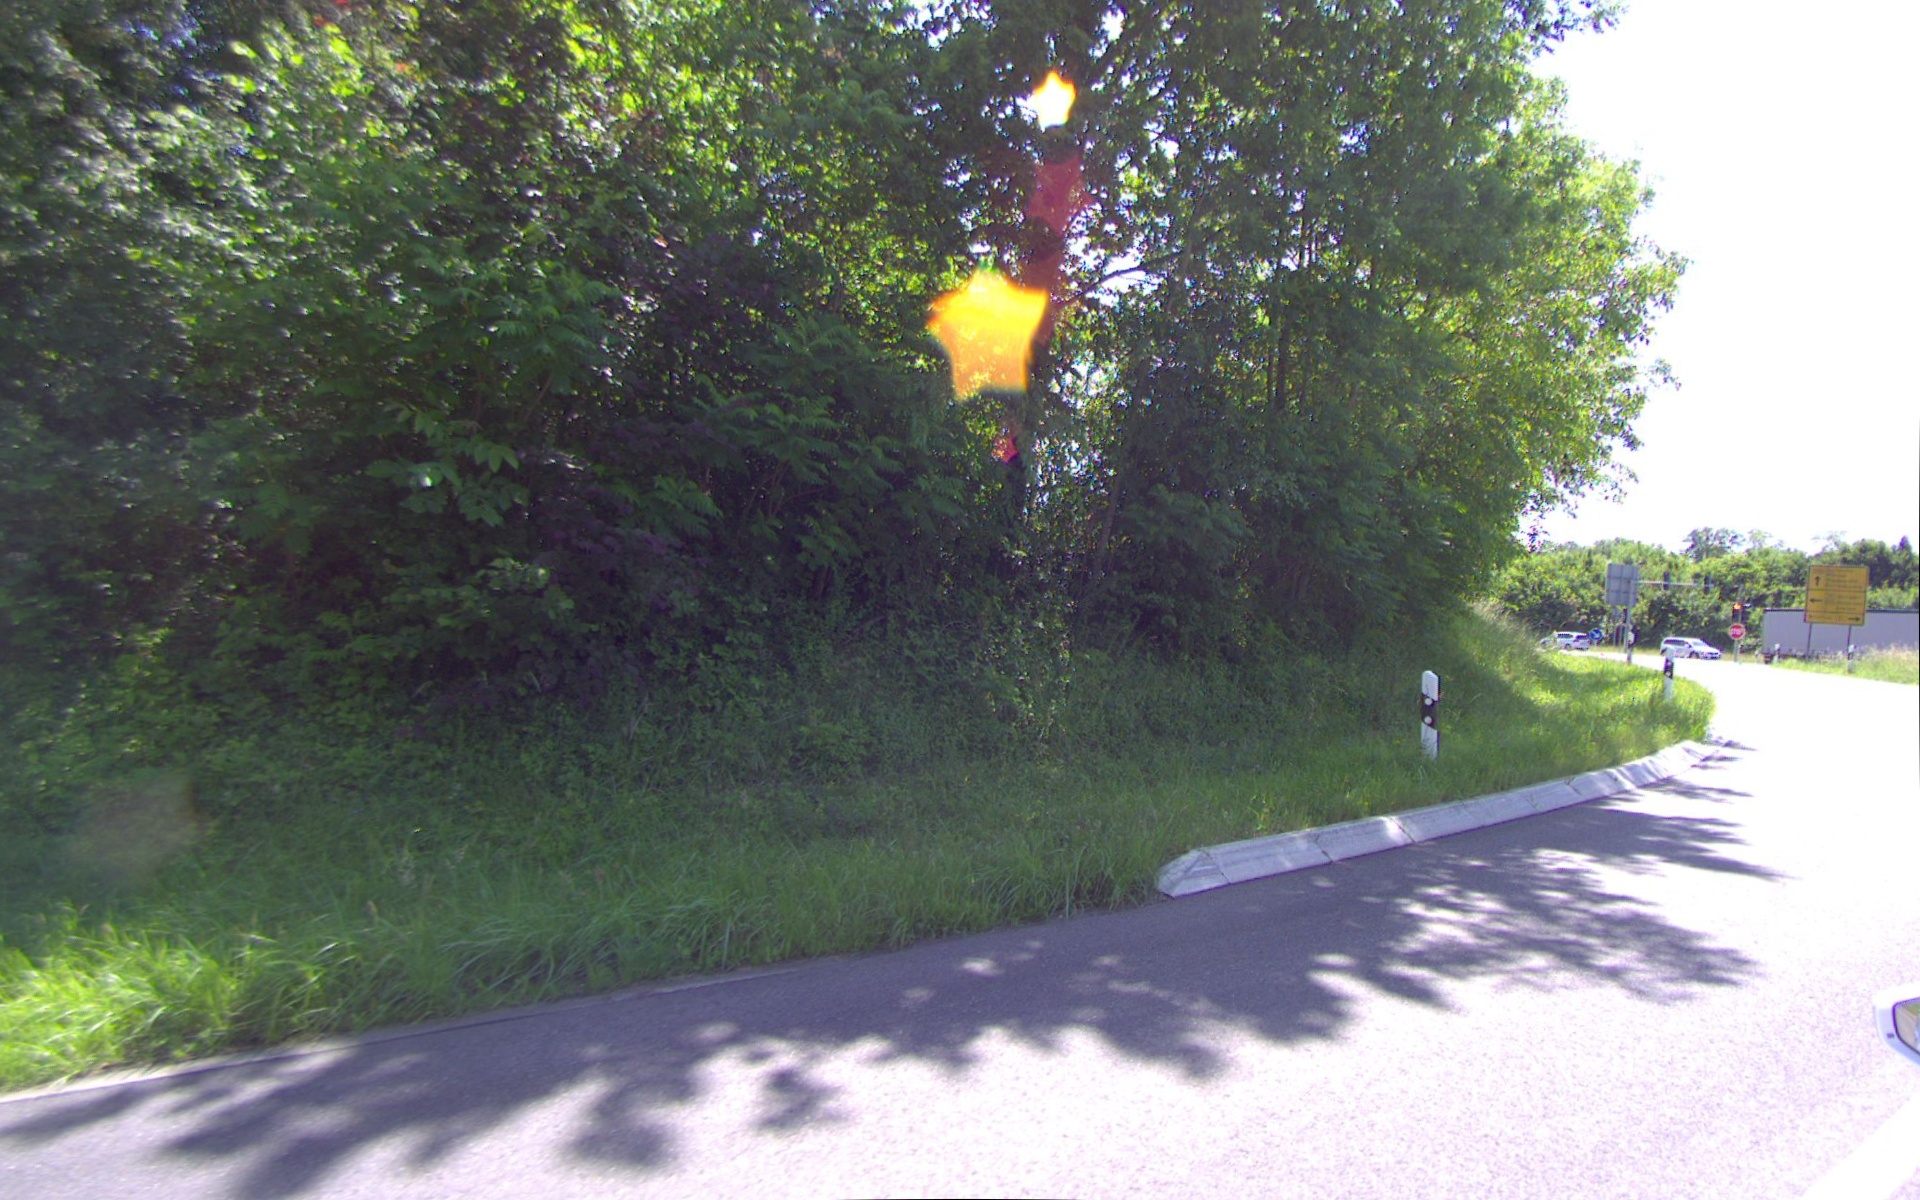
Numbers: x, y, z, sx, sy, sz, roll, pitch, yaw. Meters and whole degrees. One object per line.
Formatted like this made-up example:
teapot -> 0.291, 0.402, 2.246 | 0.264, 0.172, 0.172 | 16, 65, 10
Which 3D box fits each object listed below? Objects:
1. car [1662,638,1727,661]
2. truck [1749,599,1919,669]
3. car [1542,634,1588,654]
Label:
car -> 56.087, 3.747, 76.771 | 1.703, 1.596, 3.666 | 2, -1, -26
truck -> 58.991, 2.153, 62.673 | 3.084, 4.228, 16.631 | 3, -1, -16
car -> 56.994, 4.141, 94.758 | 1.602, 1.728, 3.647 | 0, -1, -14
